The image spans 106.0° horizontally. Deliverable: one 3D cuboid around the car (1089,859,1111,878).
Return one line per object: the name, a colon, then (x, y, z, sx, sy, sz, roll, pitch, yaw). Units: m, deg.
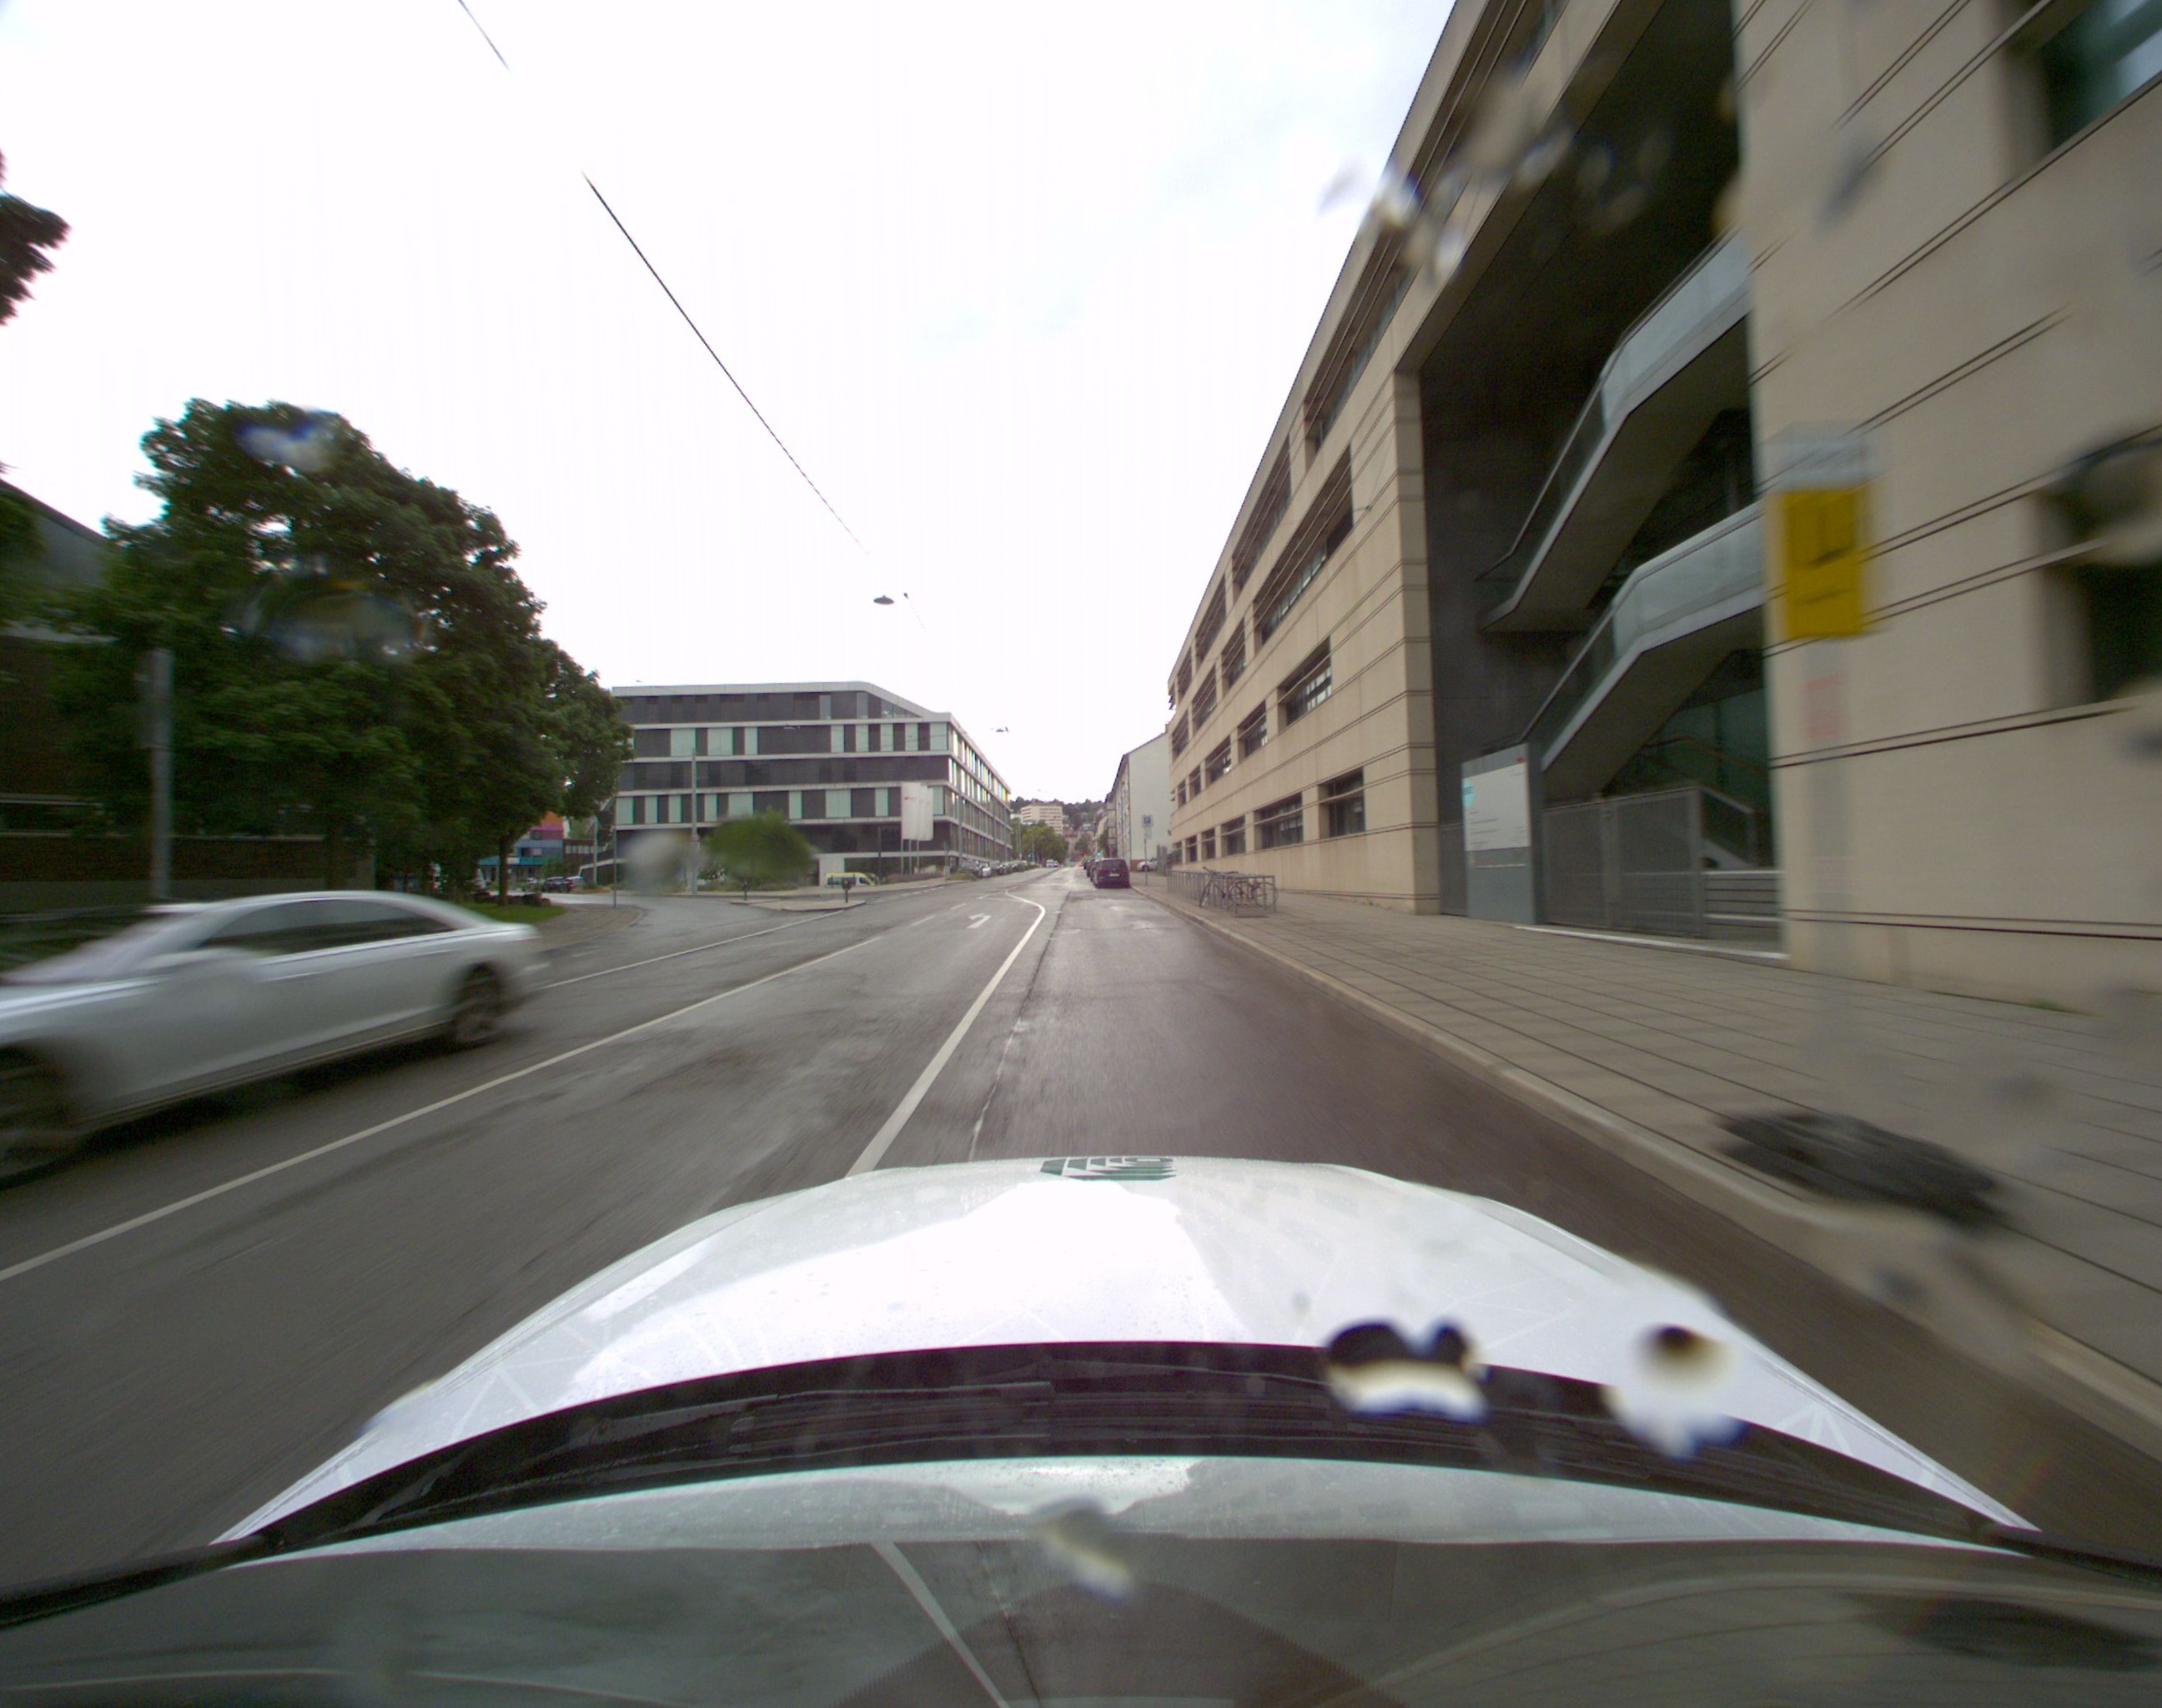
car: (1.806, 1.400, 78.420, 1.929, 1.750, 4.795, 0, -1, 0)

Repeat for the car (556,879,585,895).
car: (-47.209, 3.021, 75.268, 1.677, 1.450, 3.822, 1, -2, -42)

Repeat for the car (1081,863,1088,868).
car: (1.177, 3.552, 254.766, 1.859, 1.604, 4.192, 0, -1, 3)

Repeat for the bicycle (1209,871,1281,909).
bicycle: (4.349, 0.950, 21.641, 1.755, 0.953, 0.659, -1, -1, -4)

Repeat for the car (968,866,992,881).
car: (-9.893, 1.904, 79.953, 1.815, 1.419, 4.401, 0, -1, 0)

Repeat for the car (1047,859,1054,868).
car: (-9.034, 2.693, 240.226, 2.100, 2.546, 4.746, 0, -1, -2)

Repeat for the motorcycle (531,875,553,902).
motorcycle: (-24.206, 1.545, 36.555, 1.211, 1.185, 0.415, -1, -2, 37)

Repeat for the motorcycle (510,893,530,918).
motorcycle: (-25.954, 2.380, 37.689, 1.155, 1.125, 0.415, -3, -3, 37)

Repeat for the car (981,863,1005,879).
car: (-9.655, 1.870, 90.046, 1.955, 1.750, 4.944, 0, -1, 2)

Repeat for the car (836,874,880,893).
car: (-24.497, 3.226, 89.426, 4.329, 2.032, 1.597, 0, -1, -1)

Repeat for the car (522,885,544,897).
car: (-57.543, 3.872, 85.502, 1.489, 1.241, 3.359, 1, -2, -42)

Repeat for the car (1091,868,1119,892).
car: (1.542, 1.699, 53.641, 1.720, 1.512, 4.055, 1, -2, -1)

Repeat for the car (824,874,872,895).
car: (-24.396, 3.165, 85.402, 4.584, 2.174, 1.927, 0, -1, -7)

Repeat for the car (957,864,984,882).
car: (-9.918, 1.682, 73.255, 1.843, 1.617, 4.490, 0, -1, 0)

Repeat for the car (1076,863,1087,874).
car: (0.090, 2.371, 133.211, 1.650, 1.738, 4.178, -1, 0, -1)

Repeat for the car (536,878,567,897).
car: (-51.573, 3.248, 79.348, 1.931, 1.740, 3.952, 1, -2, -42)

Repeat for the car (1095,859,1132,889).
car: (1.747, 1.108, 45.404, 1.766, 1.604, 4.391, 0, -1, -2)

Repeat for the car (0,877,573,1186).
car: (-6.450, 1.025, 6.016, 1.874, 1.491, 5.222, -3, 0, 2)

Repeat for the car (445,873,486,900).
car: (-48.518, 2.554, 64.147, 2.088, 2.043, 4.227, 1, -2, -44)

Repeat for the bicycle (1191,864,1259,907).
bicycle: (3.994, 0.871, 22.618, 1.727, 1.119, 0.658, -1, -1, -6)

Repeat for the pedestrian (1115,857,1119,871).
pedestrian: (4.887, 1.323, 110.708, 0.636, 1.870, 0.538, 0, -2, 1)

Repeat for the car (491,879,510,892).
car: (-68.532, 3.696, 96.067, 1.450, 1.494, 3.595, -1, -1, -42)

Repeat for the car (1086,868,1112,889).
car: (1.312, 1.826, 61.061, 1.738, 1.533, 4.316, 0, -1, -2)

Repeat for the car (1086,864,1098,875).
car: (1.495, 2.169, 112.549, 1.701, 1.454, 3.983, 0, -1, 0)

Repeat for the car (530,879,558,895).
car: (-54.650, 3.361, 82.828, 1.816, 1.588, 3.634, 1, -2, -42)

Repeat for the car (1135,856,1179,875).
car: (8.086, 1.216, 86.893, 4.425, 1.713, 1.904, -4, -1, -1)

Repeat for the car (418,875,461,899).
car: (-58.172, 2.985, 73.862, 4.776, 2.097, 2.183, -1, -2, 41)
